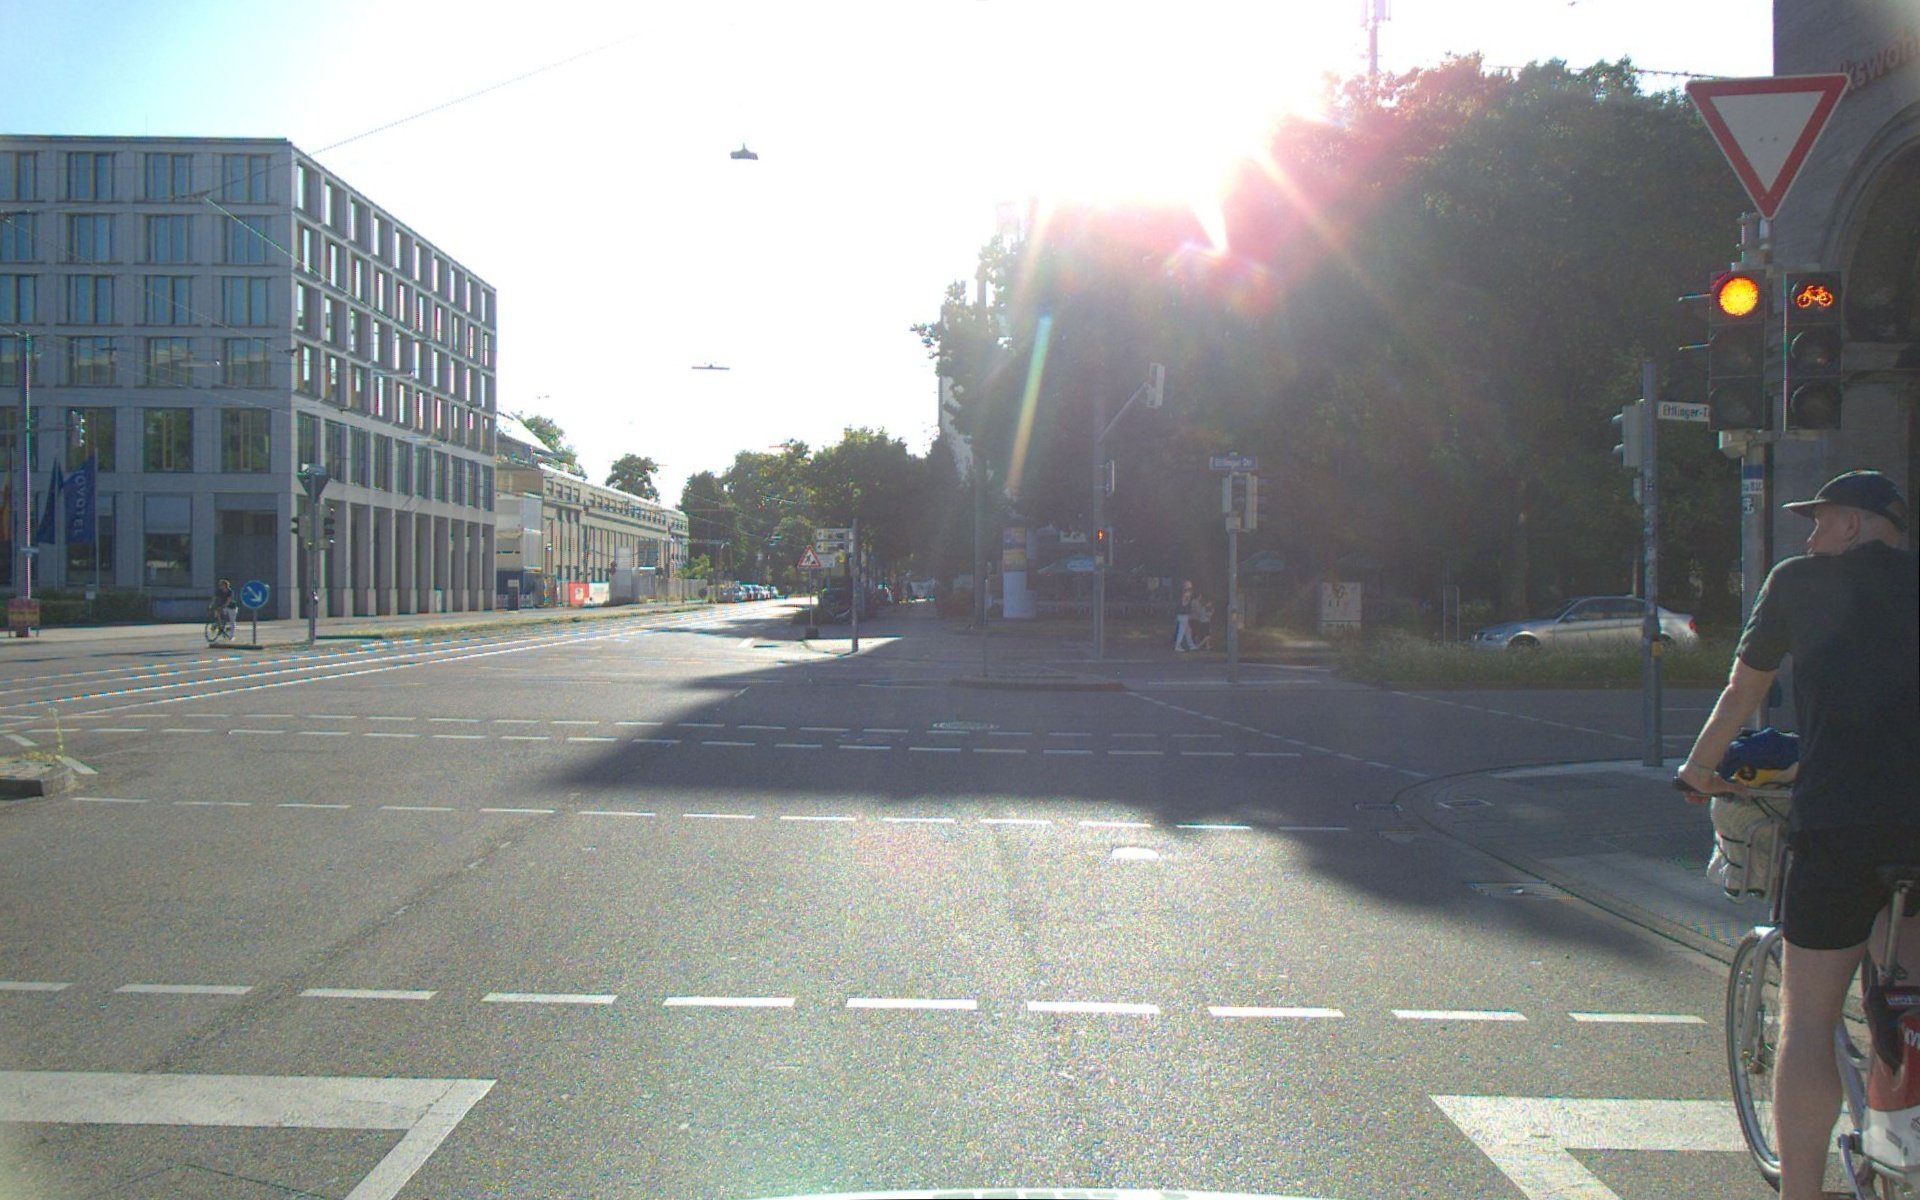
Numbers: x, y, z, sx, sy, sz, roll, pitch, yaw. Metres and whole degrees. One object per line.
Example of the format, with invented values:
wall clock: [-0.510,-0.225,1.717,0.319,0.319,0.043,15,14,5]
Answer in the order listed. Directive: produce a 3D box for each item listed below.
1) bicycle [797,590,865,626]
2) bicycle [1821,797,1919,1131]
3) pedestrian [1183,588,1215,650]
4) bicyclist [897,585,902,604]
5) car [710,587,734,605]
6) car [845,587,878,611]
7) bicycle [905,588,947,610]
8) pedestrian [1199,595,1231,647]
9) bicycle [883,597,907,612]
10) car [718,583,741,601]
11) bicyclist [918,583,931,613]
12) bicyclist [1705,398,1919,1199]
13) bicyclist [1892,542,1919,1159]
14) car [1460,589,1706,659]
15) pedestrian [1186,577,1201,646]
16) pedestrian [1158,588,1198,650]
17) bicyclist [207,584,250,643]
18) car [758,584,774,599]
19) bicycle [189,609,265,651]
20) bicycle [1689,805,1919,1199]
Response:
bicycle: [-5.229,0.332,67.045,2.688,1.391,0.631,1,-1,10]
bicycle: [2.965,1.088,4.372,0.418,0.891,1.951,0,0,2]
pedestrian: [6.438,0.515,44.567,0.779,1.668,0.533,0,0,2]
bicyclist: [-3.592,-0.345,98.223,0.312,1.147,0.291,0,0,-2]
car: [-22.376,-0.378,155.584,1.695,1.682,3.999,0,0,-1]
car: [-5.471,-0.061,92.211,1.783,1.301,3.998,0,0,-3]
bicycle: [-2.139,-0.040,103.310,2.520,1.311,0.727,1,0,-7]
pedestrian: [6.666,0.551,43.258,0.736,1.356,0.743,0,0,2]
bicycle: [-3.858,0.287,98.240,1.467,0.883,0.321,0,0,-37]
car: [-22.263,-0.755,159.815,1.695,1.682,3.999,0,0,-1]
bicyclist: [-2.233,-0.127,103.326,0.788,1.876,0.731,0,0,-2]
bicyclist: [2.139,0.433,3.731,0.655,1.707,0.657,0,0,6]
bicyclist: [2.896,0.694,4.267,0.511,1.709,0.859,0,0,2]
car: [12.593,0.473,33.610,4.350,1.352,1.777,0,0,2]
pedestrian: [6.268,0.309,44.402,0.353,1.836,0.507,0,0,11]
pedestrian: [5.783,0.499,43.949,0.964,1.615,0.660,0,-1,1]
bicyclist: [-20.941,0.382,47.361,0.857,1.670,0.822,0,0,0]
car: [-22.650,-0.981,193.613,1.453,1.780,3.999,0,0,-1]
bicycle: [-20.937,0.843,47.303,0.857,1.140,3.012,0,0,-1]
bicycle: [2.210,1.067,3.881,0.381,0.921,1.952,0,0,8]
